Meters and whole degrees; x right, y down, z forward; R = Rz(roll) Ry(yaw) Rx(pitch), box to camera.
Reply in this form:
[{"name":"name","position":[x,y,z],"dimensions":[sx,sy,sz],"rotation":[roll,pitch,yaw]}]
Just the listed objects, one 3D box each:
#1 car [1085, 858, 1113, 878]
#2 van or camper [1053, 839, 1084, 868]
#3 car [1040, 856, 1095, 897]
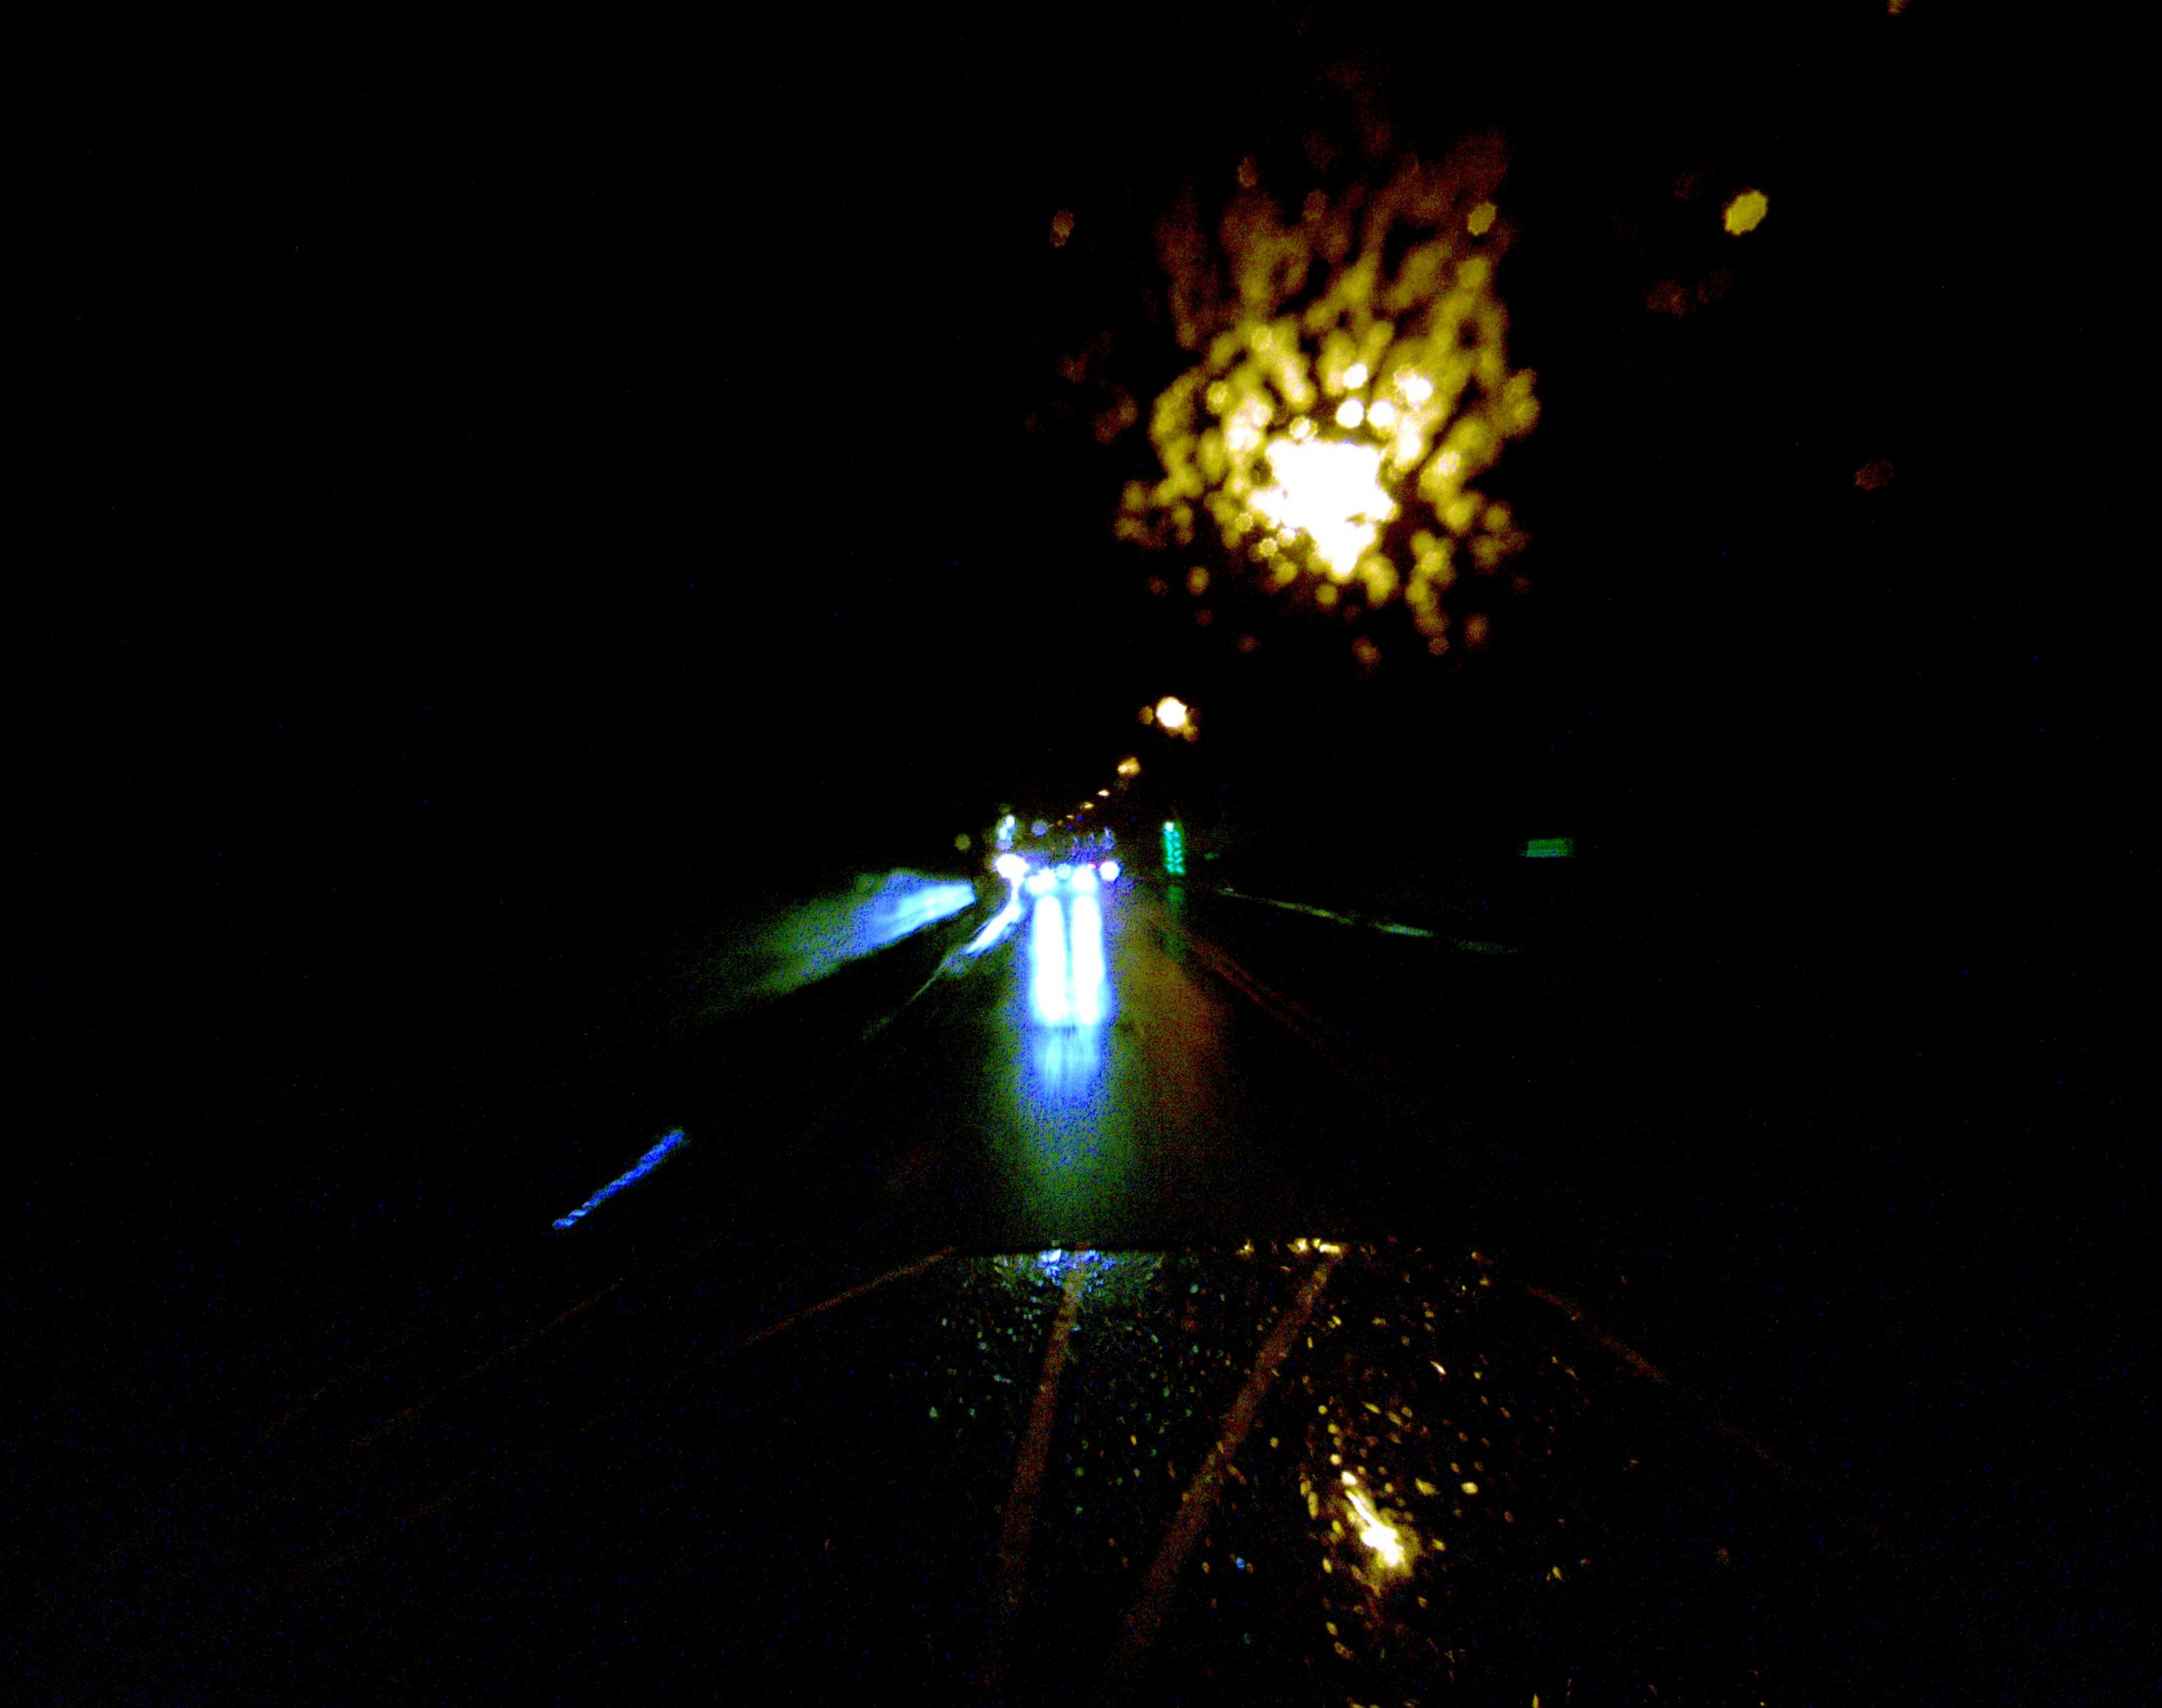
[{"name":"car","position":[1.285,1.023,56.271],"dimensions":[1.839,1.375,4.645],"rotation":[-2,0,-1]},{"name":"van or camper","position":[-1.335,-0.046,79.283],"dimensions":[2.421,2.866,6.673],"rotation":[-1,0,-8]},{"name":"car","position":[-0.636,0.890,32.191],"dimensions":[1.999,1.546,3.998],"rotation":[-1,0,-6]}]
